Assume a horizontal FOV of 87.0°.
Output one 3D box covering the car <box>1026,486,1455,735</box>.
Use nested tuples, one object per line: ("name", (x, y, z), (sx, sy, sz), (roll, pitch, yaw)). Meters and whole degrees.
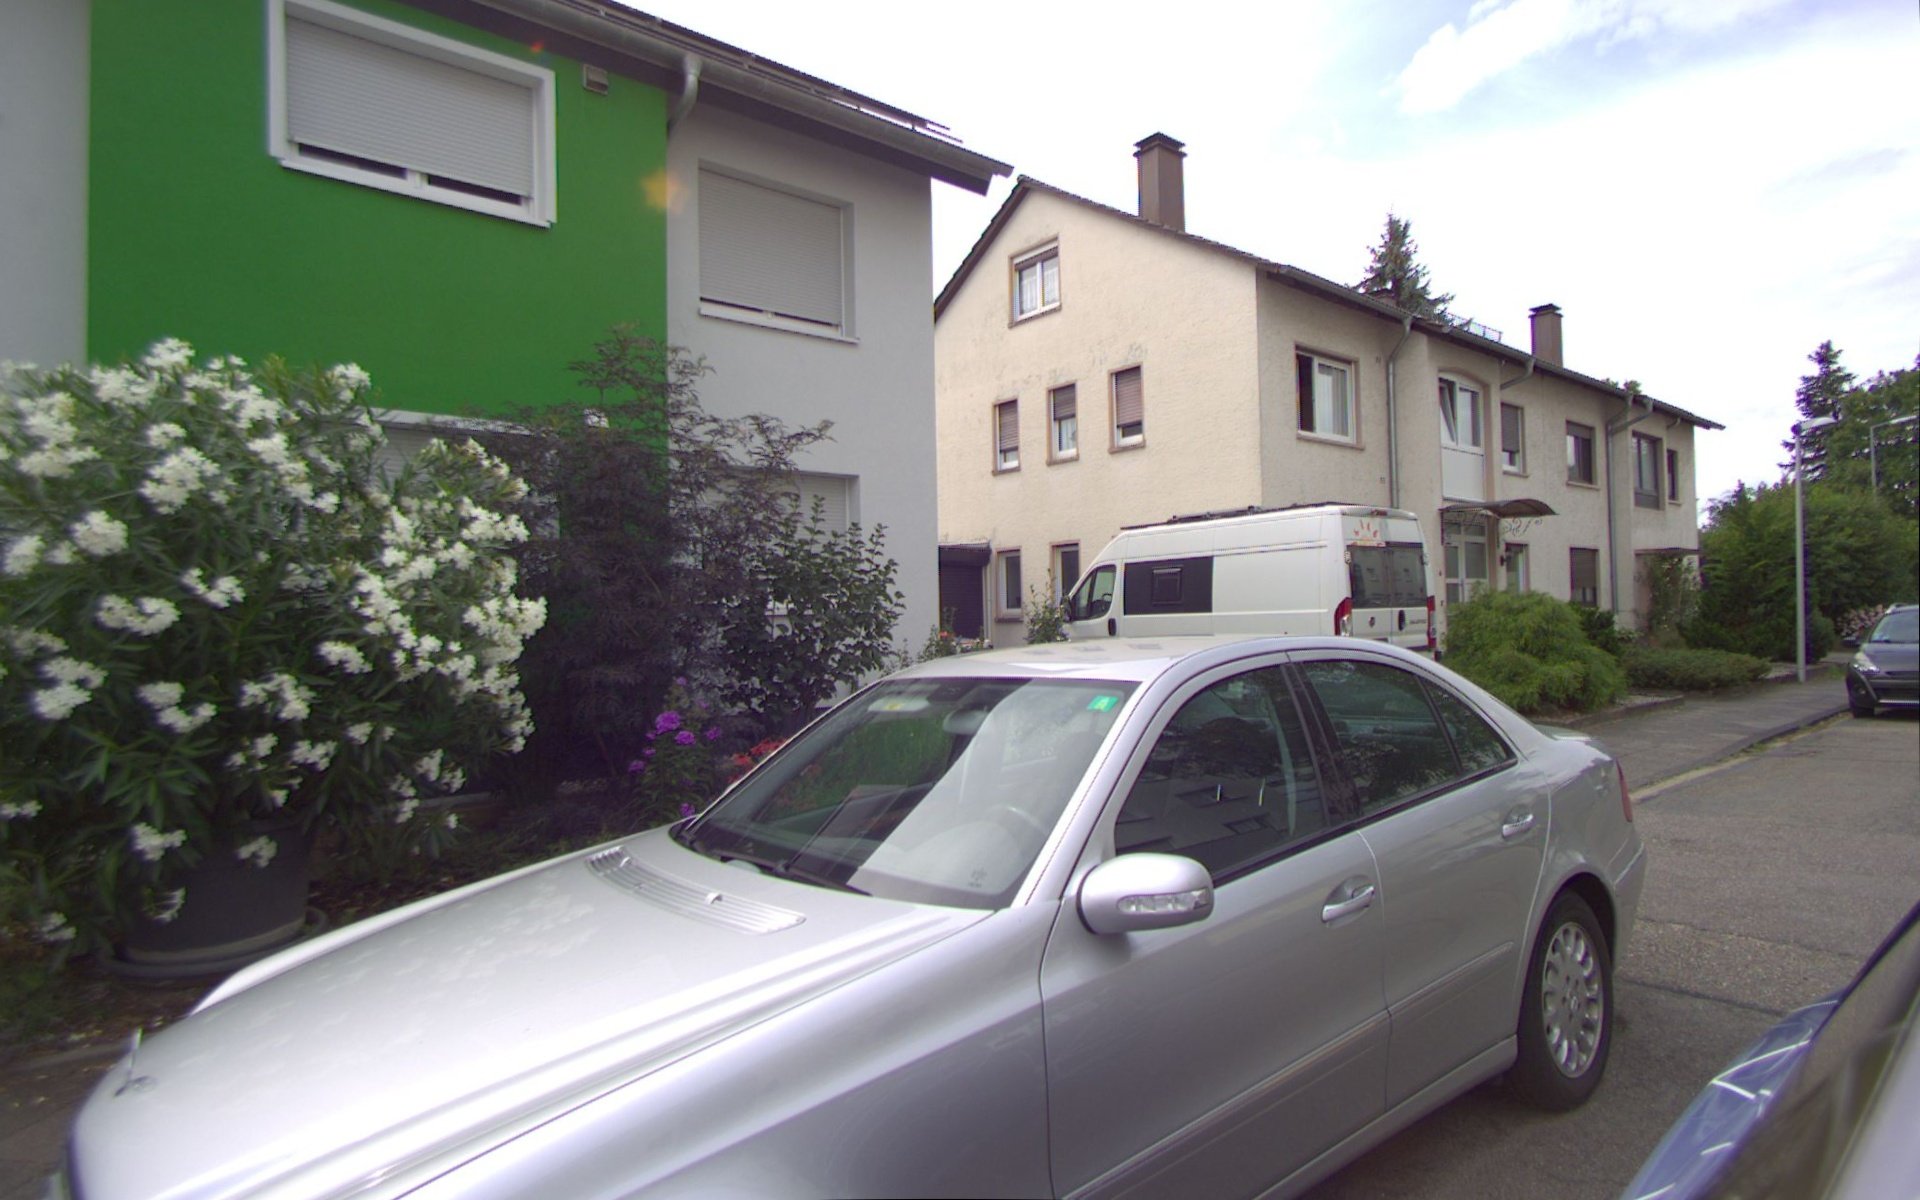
("car", (3.365, 0.105, 13.178), (2.197, 2.574, 5.100), (0, 0, -38))

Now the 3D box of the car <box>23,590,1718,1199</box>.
("car", (0.359, 0.743, 2.957), (4.373, 1.439, 1.787), (-1, -3, -37))

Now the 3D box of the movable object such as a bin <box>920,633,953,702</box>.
("movable object such as a bin", (-0.336, 0.956, 14.386), (0.332, 0.937, 0.355), (0, 0, -39))

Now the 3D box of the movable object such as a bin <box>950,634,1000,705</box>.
("movable object such as a bin", (0.208, 0.956, 14.112), (0.473, 0.937, 0.520), (0, 0, -39))

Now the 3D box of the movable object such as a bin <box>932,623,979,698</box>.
("movable object such as a bin", (-0.071, 0.892, 15.200), (0.536, 1.070, 0.456), (0, 0, -39))

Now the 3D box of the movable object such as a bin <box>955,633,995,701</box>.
("movable object such as a bin", (0.214, 0.966, 14.784), (0.395, 0.937, 0.450), (0, 0, -39))

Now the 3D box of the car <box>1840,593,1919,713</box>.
("car", (13.465, 0.637, 13.628), (4.117, 1.477, 1.832), (0, -2, -41))

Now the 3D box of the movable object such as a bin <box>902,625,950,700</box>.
("movable object such as a bin", (-0.501, 0.910, 14.839), (0.536, 1.045, 0.456), (0, 0, -39))
